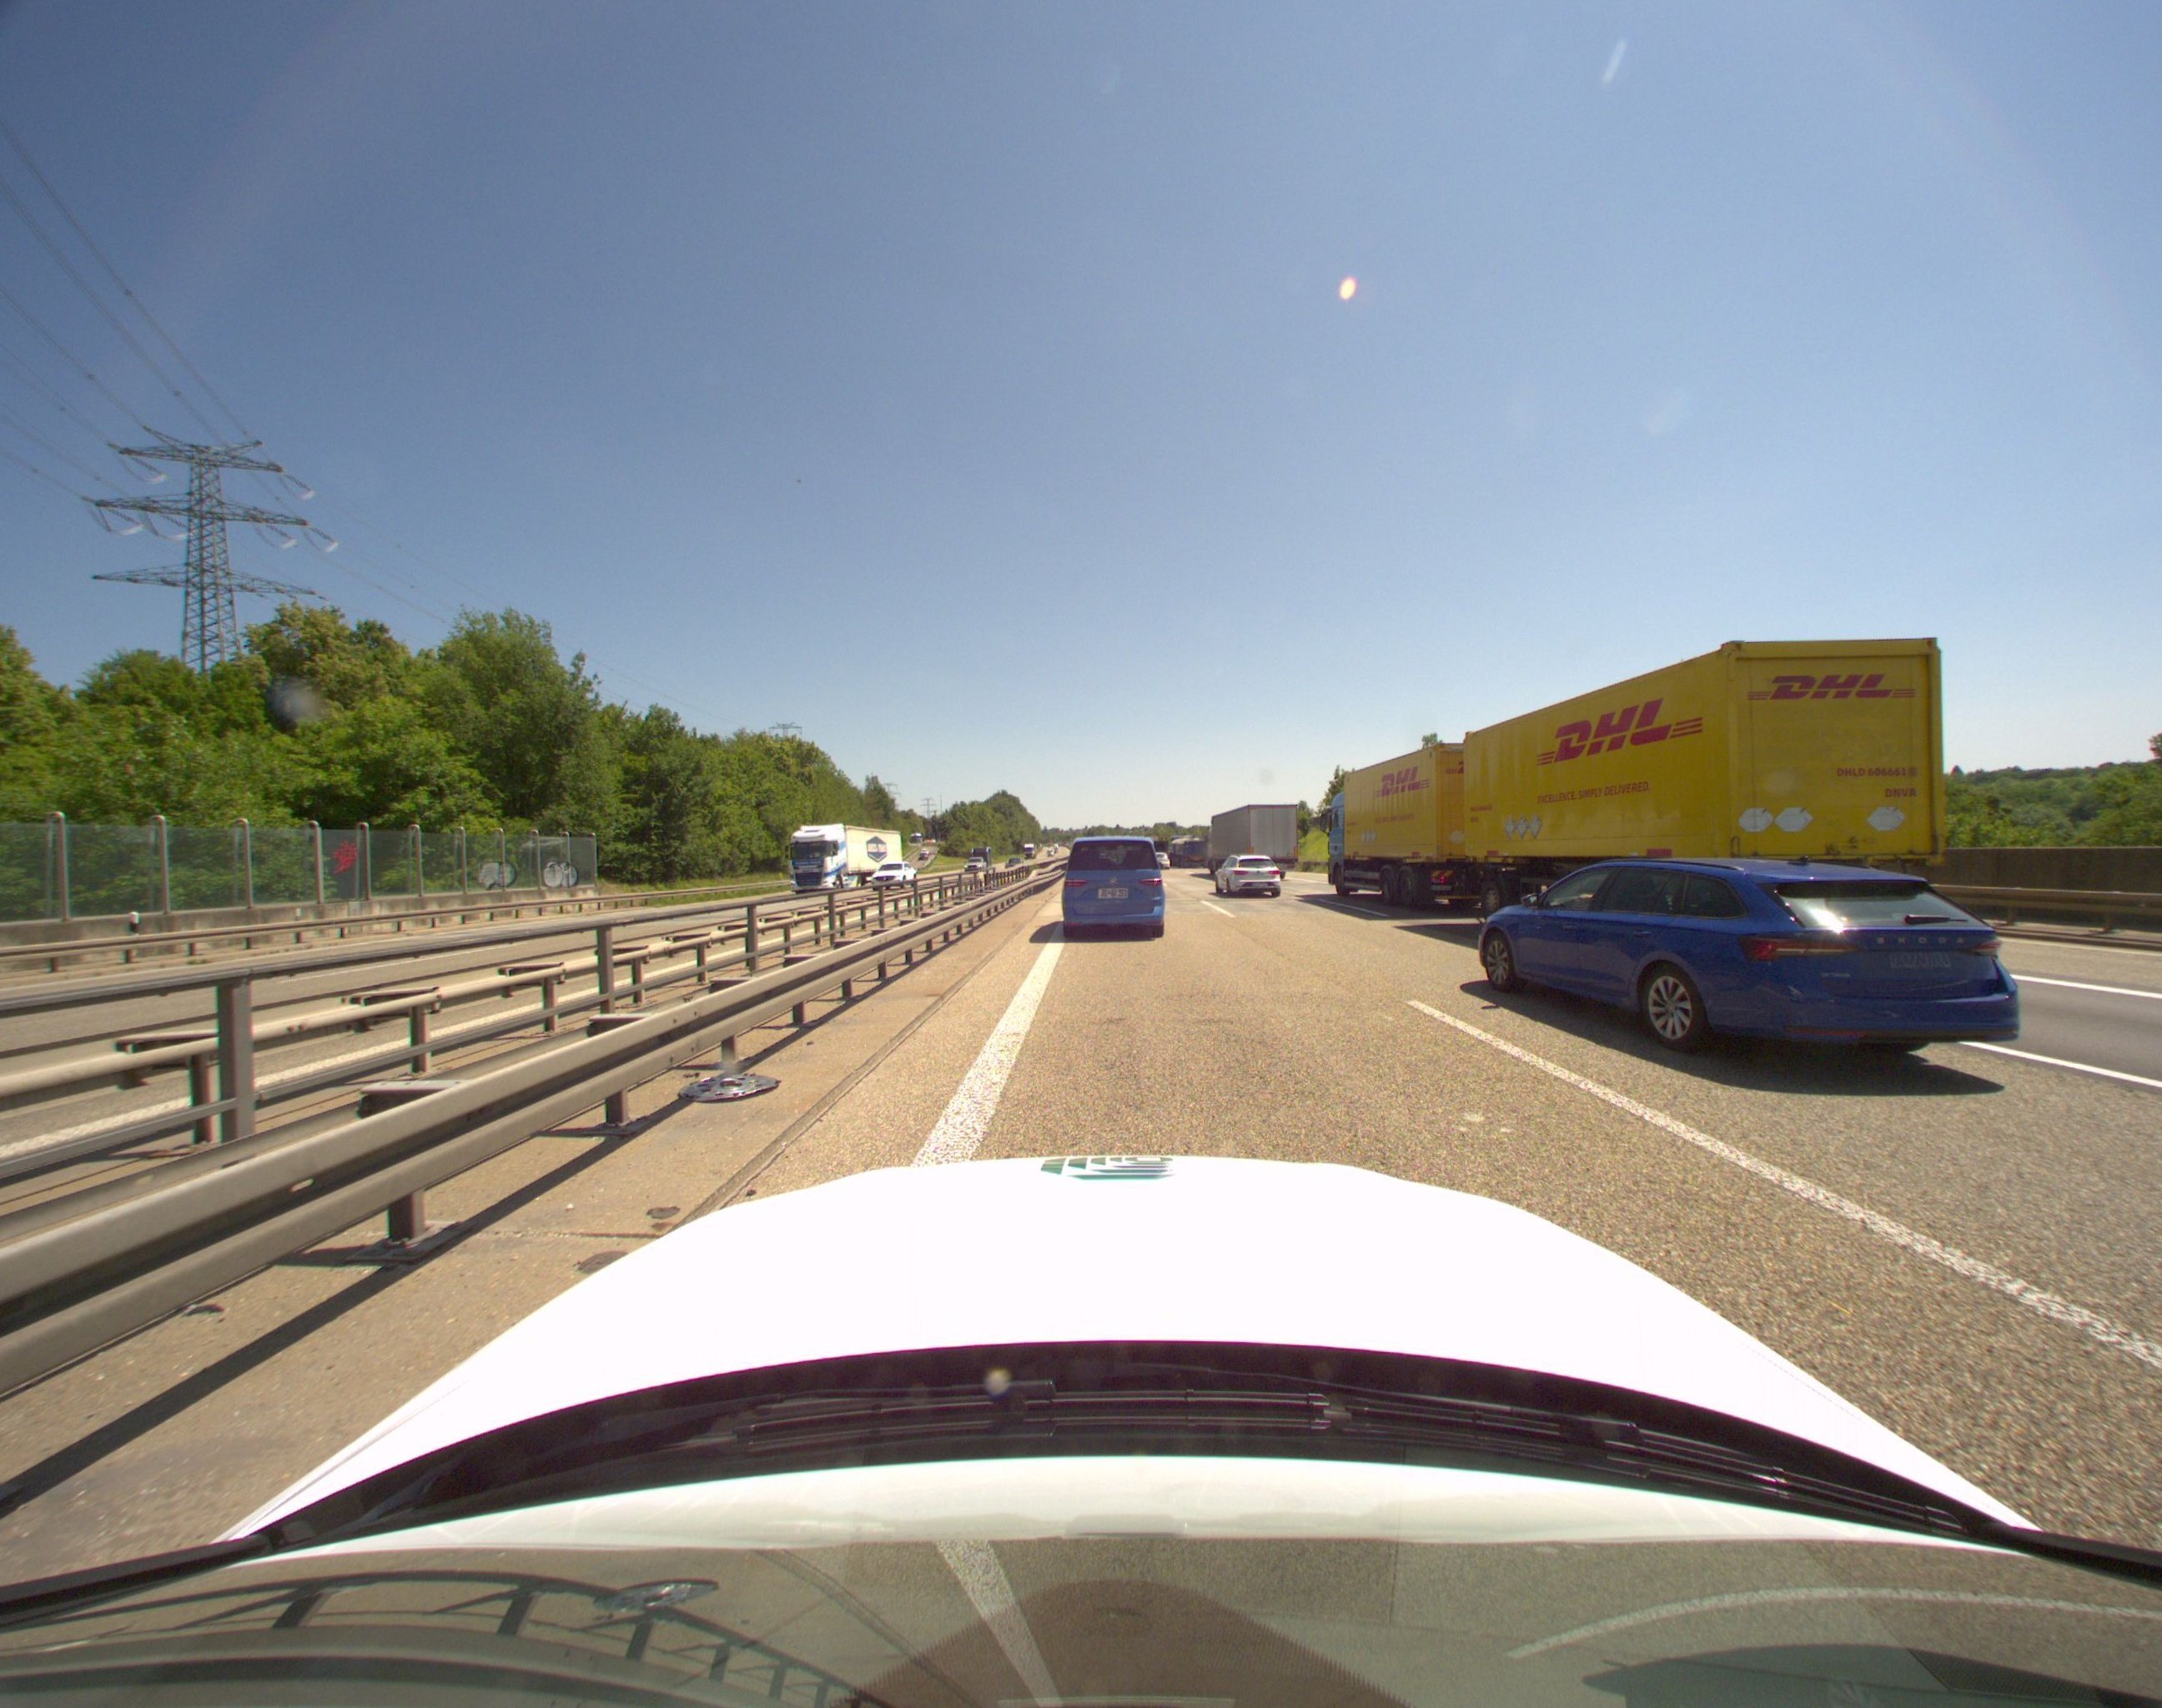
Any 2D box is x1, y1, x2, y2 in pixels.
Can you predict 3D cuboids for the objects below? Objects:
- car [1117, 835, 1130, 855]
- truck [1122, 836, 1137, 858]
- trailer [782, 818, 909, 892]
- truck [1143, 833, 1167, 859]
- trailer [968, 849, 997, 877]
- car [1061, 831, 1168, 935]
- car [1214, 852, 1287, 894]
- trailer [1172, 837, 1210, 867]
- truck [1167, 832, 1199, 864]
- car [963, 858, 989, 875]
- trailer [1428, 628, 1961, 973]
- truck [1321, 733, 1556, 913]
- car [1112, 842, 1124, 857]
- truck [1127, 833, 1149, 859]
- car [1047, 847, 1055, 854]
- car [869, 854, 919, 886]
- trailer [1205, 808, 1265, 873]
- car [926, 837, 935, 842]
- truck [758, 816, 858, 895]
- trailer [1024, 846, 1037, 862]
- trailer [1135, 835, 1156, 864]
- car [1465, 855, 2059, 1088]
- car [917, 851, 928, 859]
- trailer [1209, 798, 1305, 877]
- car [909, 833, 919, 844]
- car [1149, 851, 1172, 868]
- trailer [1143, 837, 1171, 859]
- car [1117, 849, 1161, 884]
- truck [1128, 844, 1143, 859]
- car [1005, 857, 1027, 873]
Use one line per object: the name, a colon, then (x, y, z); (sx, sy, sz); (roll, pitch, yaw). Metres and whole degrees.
car: (11.572, -2.303, 222.254); (3.207, 5.257, 8.145); (0, -1, 1)
truck: (11.448, -1.608, 191.679); (3.058, 4.920, 10.690); (0, -1, 1)
trailer: (-15.531, 0.144, 55.556); (3.974, 4.235, 14.044); (-3, -1, 2)
truck: (11.941, -1.179, 132.102); (3.611, 4.094, 7.530); (0, -1, 3)
trailer: (-10.748, 0.960, 89.418); (2.158, 2.777, 5.378); (-4, -1, 2)
car: (0.665, 0.525, 16.373); (1.894, 1.838, 4.002); (0, -1, 2)
car: (5.808, 0.619, 28.304); (1.860, 1.361, 4.002); (0, 0, 2)
trailer: (10.663, -0.259, 79.860); (2.734, 2.836, 9.118); (0, 1, 1)
truck: (10.809, -0.665, 86.993); (2.734, 3.311, 7.134); (0, 1, 1)
car: (-10.876, 1.287, 84.439); (1.864, 1.625, 4.630); (-2, -1, 2)
trailer: (9.315, -0.661, 14.422); (2.754, 4.117, 9.383); (0, 0, 3)
truck: (9.626, -0.724, 23.571); (2.755, 4.109, 9.957); (0, 0, 2)
car: (7.648, -0.957, 170.751); (2.279, 3.008, 5.573); (0, -1, 0)
truck: (11.968, -1.468, 172.655); (3.610, 5.213, 15.683); (0, -1, -1)
car: (-9.192, -1.043, 250.079); (1.986, 1.941, 4.898); (0, -1, 2)
car: (-10.919, 0.938, 47.884); (1.742, 1.696, 4.387); (-3, -1, 2)
trailer: (10.235, -0.876, 54.687); (2.914, 4.043, 6.412); (-1, 0, 1)
car: (-46.528, -4.522, 251.674); (1.942, 1.510, 4.372); (0, -1, -18)
truck: (-15.811, 0.118, 47.576); (3.992, 4.228, 4.859); (-3, -1, 1)
trailer: (-13.480, -0.029, 216.328); (2.747, 3.976, 6.132); (-3, 0, 1)
trailer: (11.901, -0.674, 151.717); (3.631, 5.136, 13.084); (0, -1, 3)
car: (5.281, 0.731, 7.281); (1.700, 1.441, 4.429); (0, 0, 1)
car: (-33.089, 0.282, 170.106); (1.991, 1.576, 5.263); (0, -1, -6)
trailer: (10.130, -0.868, 48.732); (2.952, 4.049, 13.754); (-1, 0, 1)
car: (-49.211, -4.626, 239.952); (2.074, 2.880, 6.691); (-2, -1, -18)
car: (7.008, 0.501, 72.304); (1.833, 1.454, 4.002); (0, -1, 2)
trailer: (11.535, -0.863, 125.020); (3.631, 3.079, 15.782); (0, -1, 3)
car: (2.704, 0.588, 38.479); (1.864, 1.552, 4.000); (0, -1, 1)
truck: (6.973, -0.318, 105.116); (1.719, 1.857, 4.000); (0, -1, 1)
car: (-6.629, 1.113, 83.348); (1.785, 1.572, 4.001); (0, -1, 2)
